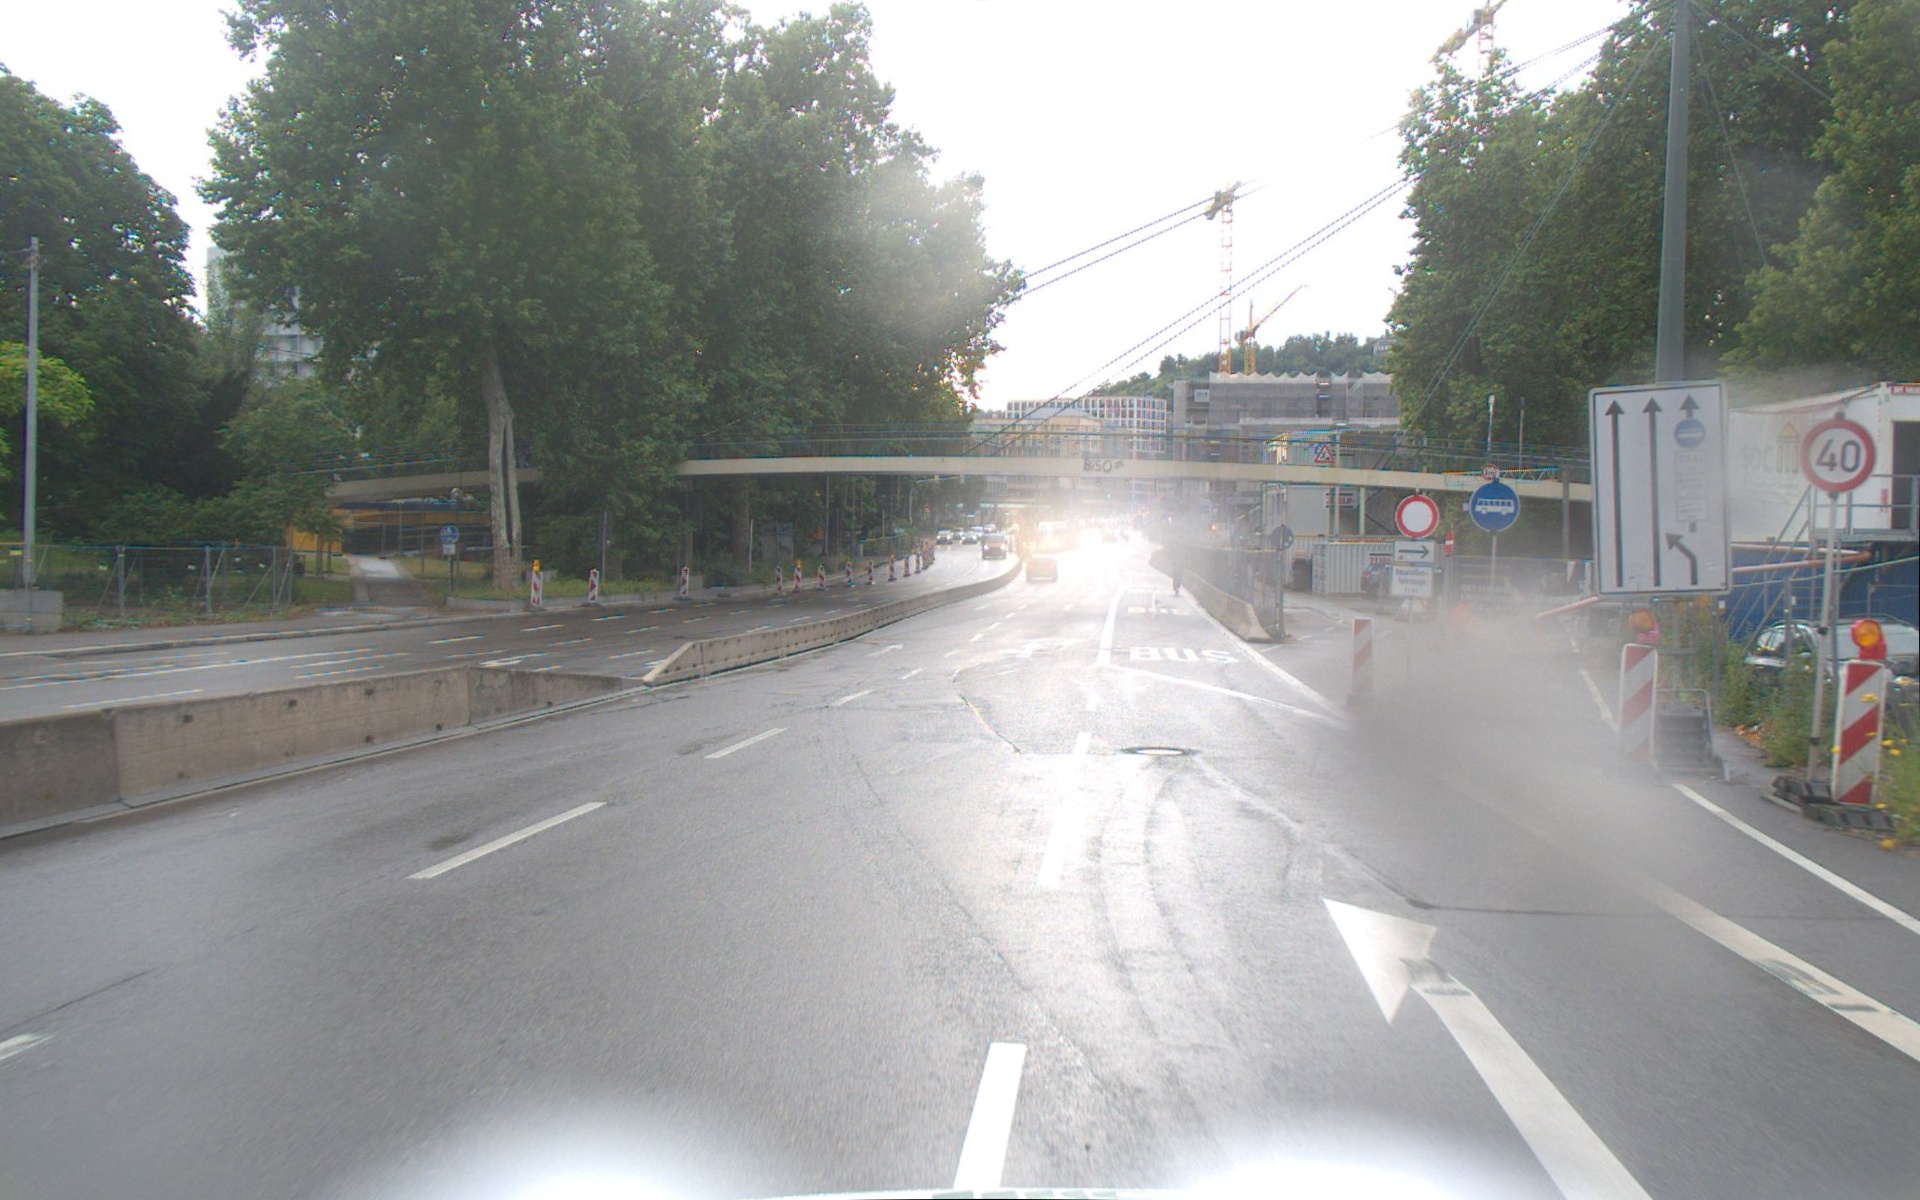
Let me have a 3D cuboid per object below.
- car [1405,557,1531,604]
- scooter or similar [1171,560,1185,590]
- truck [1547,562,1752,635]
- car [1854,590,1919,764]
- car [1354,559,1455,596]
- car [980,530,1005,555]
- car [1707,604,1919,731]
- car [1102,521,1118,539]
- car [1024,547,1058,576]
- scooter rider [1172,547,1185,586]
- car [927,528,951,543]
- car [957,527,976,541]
[{"bbox_3d":[20.308,-0.781,66.272,4.406,1.758,2.000,1,2,0],"label":"car"},{"bbox_3d":[10.406,-1.212,78.986,0.584,1.342,1.669,1,3,7],"label":"scooter or similar"},{"bbox_3d":[20.314,-0.057,48.876,5.049,2.049,2.409,1,0,-1],"label":"truck"},{"bbox_3d":[10.391,0.743,15.967,1.881,1.678,4.417,-4,0,13],"label":"car"},{"bbox_3d":[21.669,-1.106,80.722,4.447,1.656,1.789,1,3,3],"label":"car"},{"bbox_3d":[2.716,-4.783,138.842,1.989,1.970,5.044,-1,1,0],"label":"car"},{"bbox_3d":[11.784,0.873,21.935,1.813,1.511,3.998,-1,-2,-2],"label":"car"},{"bbox_3d":[18.321,-8.575,201.904,1.951,2.049,4.003,-1,1,6],"label":"car"},{"bbox_3d":[4.644,-2.189,94.685,1.862,1.554,4.179,-1,1,2],"label":"car"},{"bbox_3d":[10.410,-1.623,78.935,0.584,1.816,0.998,1,2,7],"label":"scooter rider"},{"bbox_3d":[-2.450,-7.484,192.470,1.995,1.681,4.308,-1,3,-12],"label":"car"},{"bbox_3d":[0.744,-7.662,192.139,1.680,1.361,4.058,-7,2,-5],"label":"car"}]
